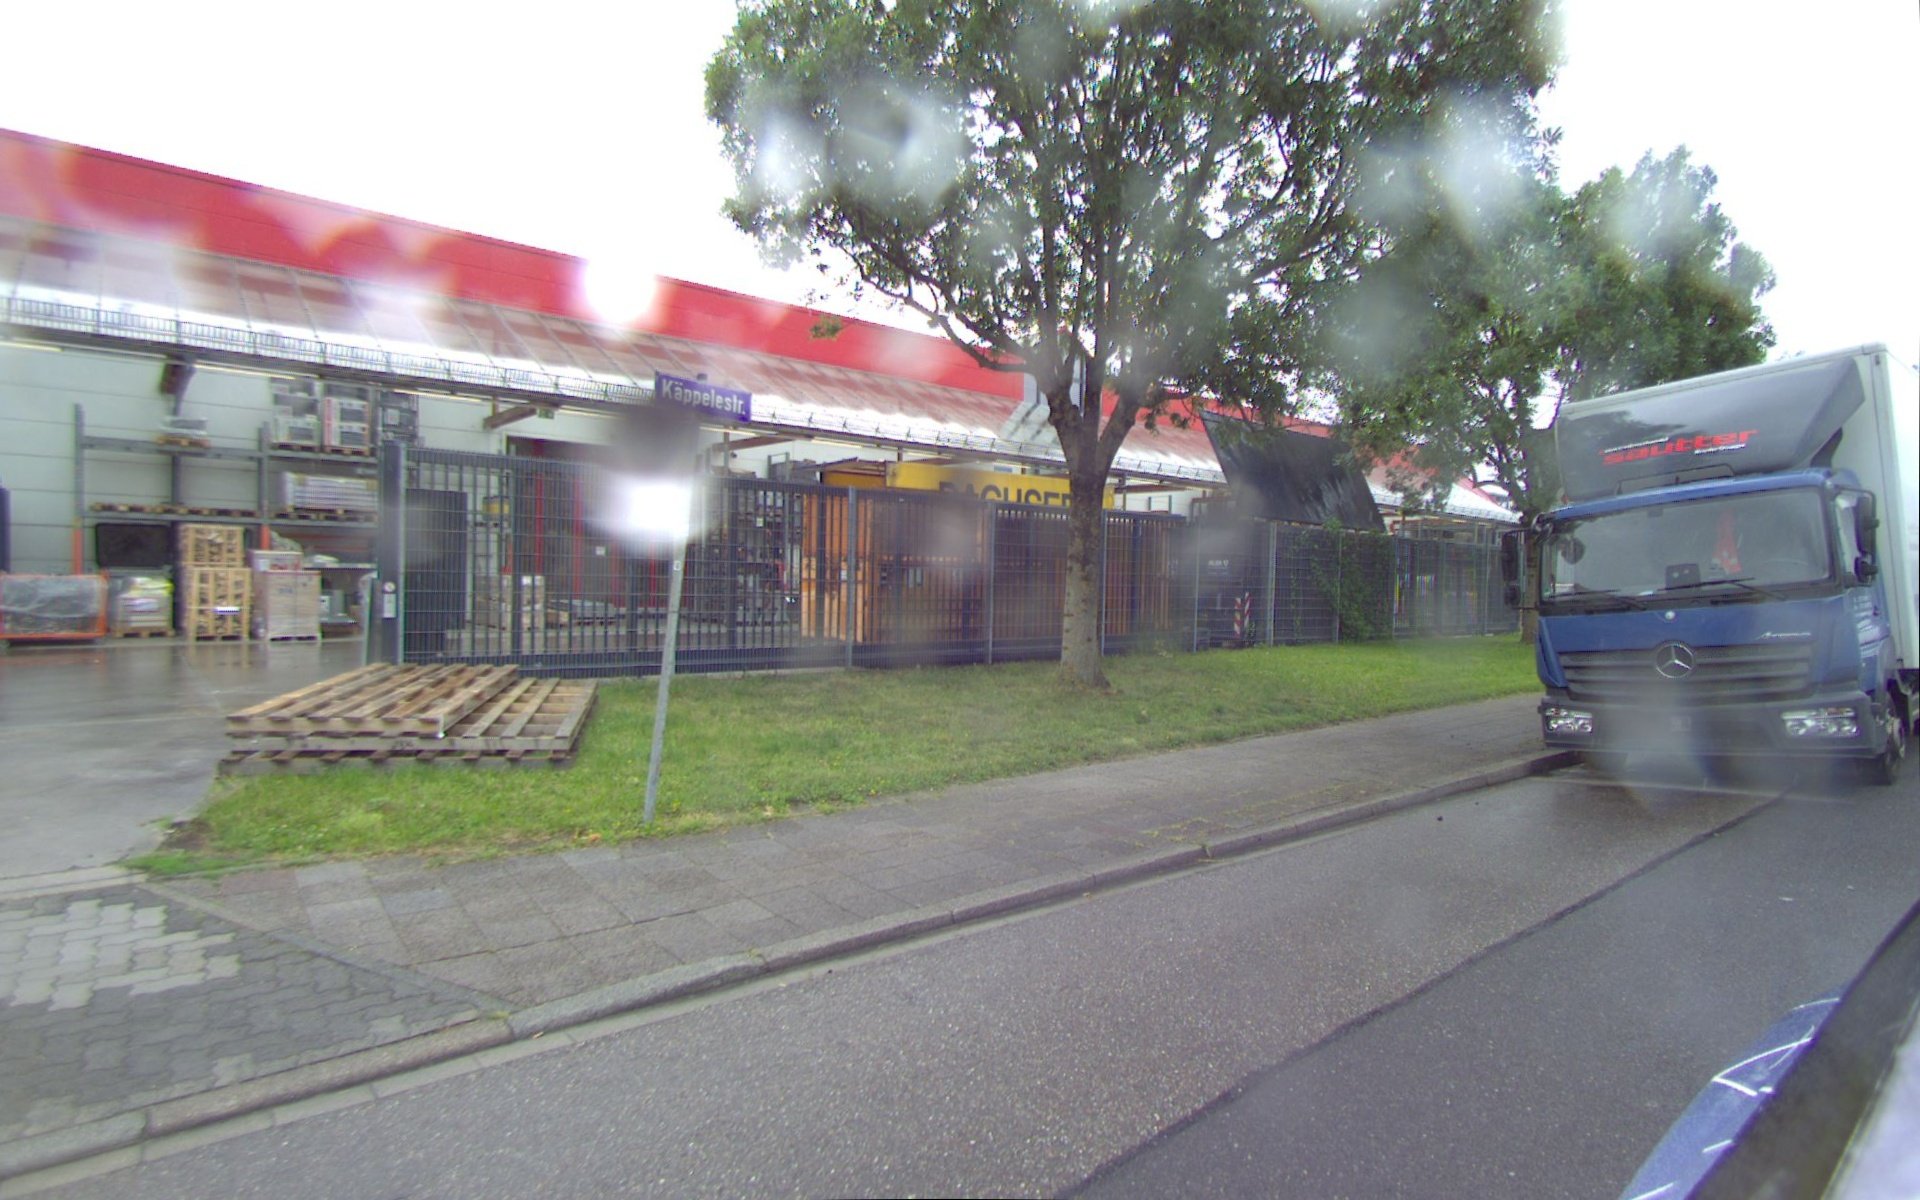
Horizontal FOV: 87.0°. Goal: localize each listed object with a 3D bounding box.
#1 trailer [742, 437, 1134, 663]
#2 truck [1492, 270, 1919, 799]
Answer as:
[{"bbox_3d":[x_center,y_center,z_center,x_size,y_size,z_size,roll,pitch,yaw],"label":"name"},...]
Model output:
[{"bbox_3d":[-0.151,-1.097,23.422,9.305,4.295,2.973,-2,2,-40],"label":"trailer"},{"bbox_3d":[8.752,-0.465,10.701,7.866,3.739,2.676,0,-1,-40],"label":"truck"}]
